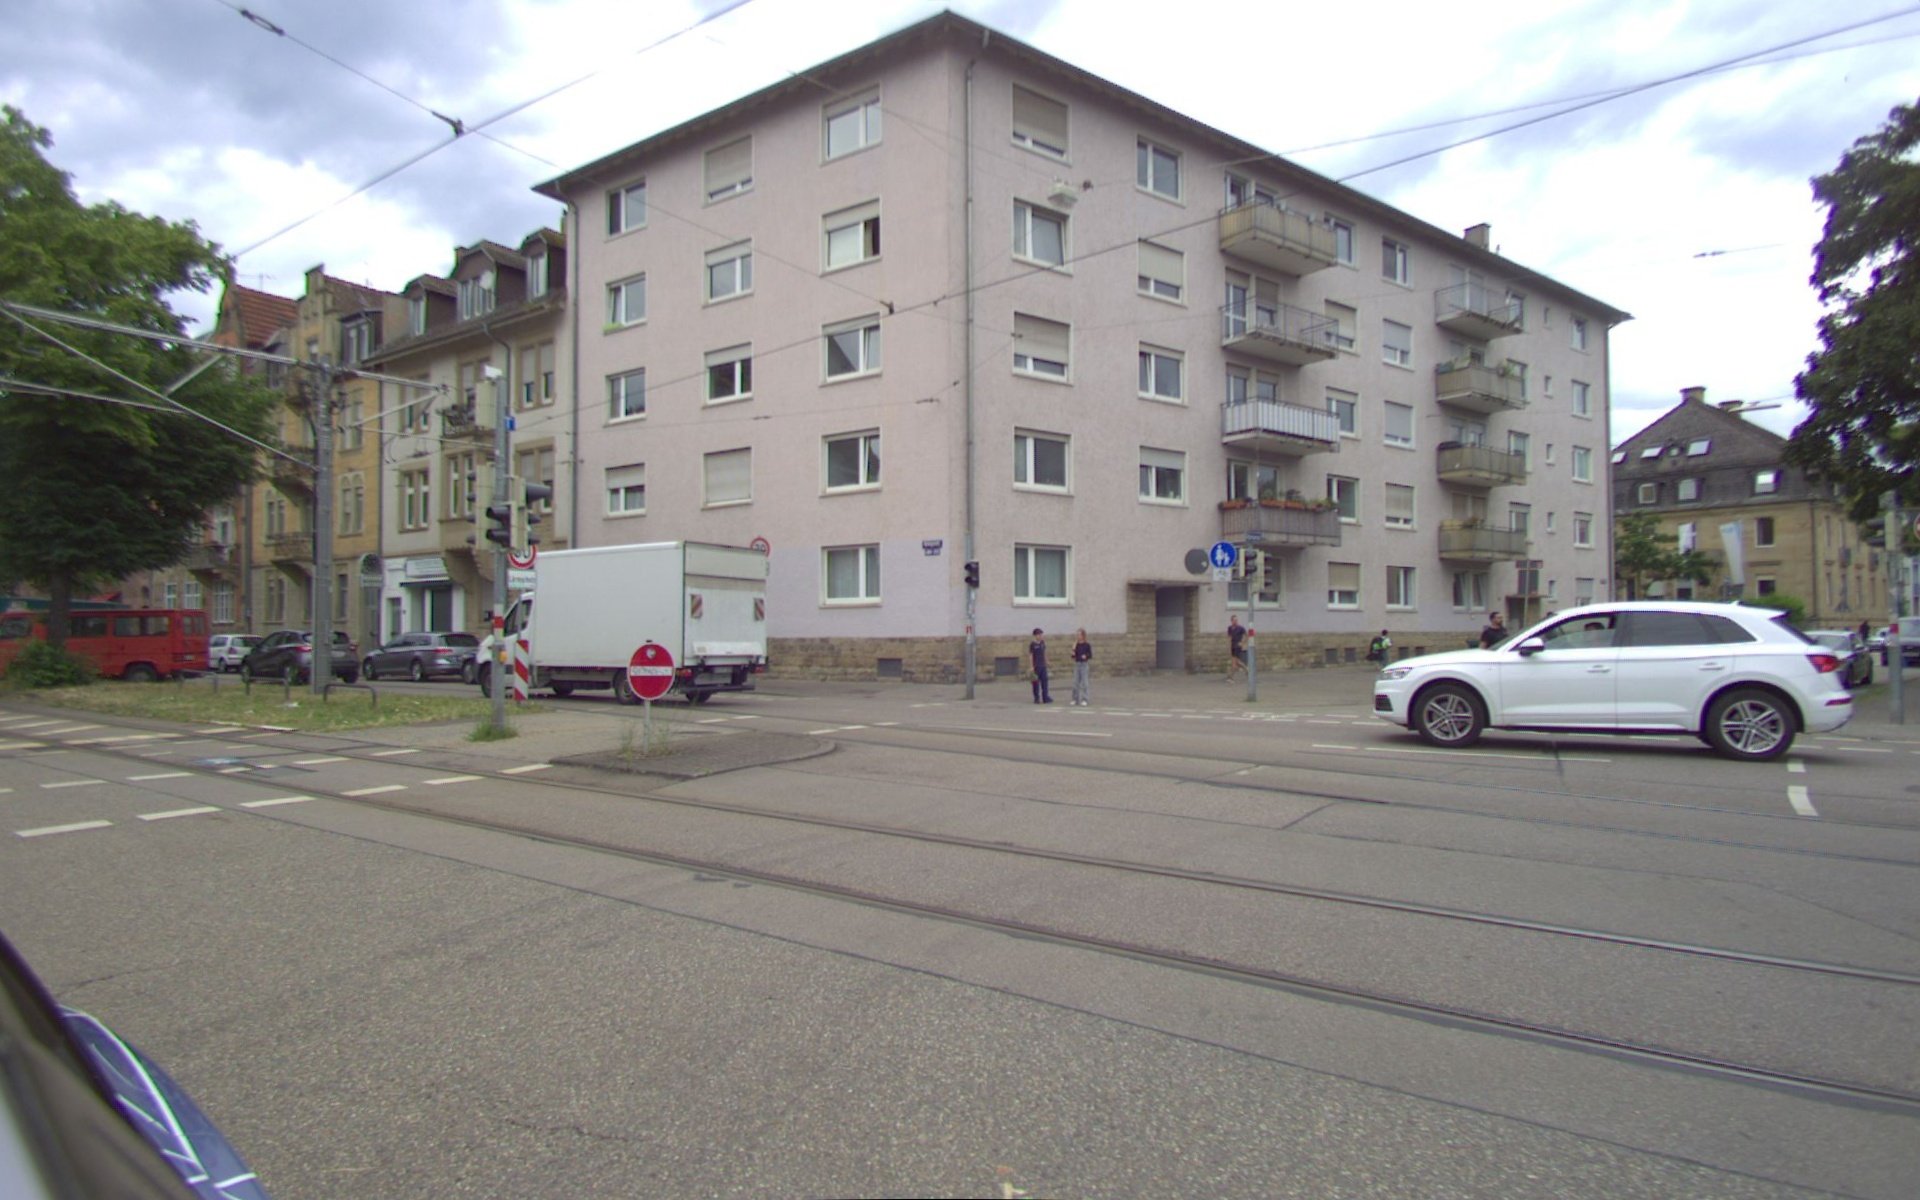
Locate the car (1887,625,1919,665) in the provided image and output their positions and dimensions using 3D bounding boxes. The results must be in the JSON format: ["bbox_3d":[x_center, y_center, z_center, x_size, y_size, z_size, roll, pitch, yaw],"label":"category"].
[{"bbox_3d":[34.608,1.555,35.697,3.970,1.364,2.005,1,-2,-36],"label":"car"}]

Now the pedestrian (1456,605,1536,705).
[{"bbox_3d":[10.471,1.067,19.797,0.821,1.889,1.049,1,-2,-20],"label":"pedestrian"}]

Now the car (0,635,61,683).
[{"bbox_3d":[-30.657,1.835,31.368,3.798,1.474,1.694,0,-2,-14],"label":"car"}]

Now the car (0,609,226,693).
[{"bbox_3d":[-21.541,1.241,25.361,4.686,1.989,1.965,0,-2,-17],"label":"car"}]

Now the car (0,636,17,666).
[{"bbox_3d":[-55.350,2.871,57.393,4.541,1.639,1.726,-1,-2,34],"label":"car"}]

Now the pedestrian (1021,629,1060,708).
[{"bbox_3d":[1.627,1.367,20.506,0.562,1.569,0.534,2,-3,-42],"label":"pedestrian"}]

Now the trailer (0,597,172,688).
[{"bbox_3d":[-24.082,1.138,27.718,3.608,2.362,1.937,1,-2,-28],"label":"trailer"}]

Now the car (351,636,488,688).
[{"bbox_3d":[-16.234,1.811,30.324,4.556,1.454,1.622,-2,-2,33],"label":"car"}]

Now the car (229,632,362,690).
[{"bbox_3d":[-18.857,1.671,28.675,4.119,1.546,1.631,-1,-2,33],"label":"car"}]

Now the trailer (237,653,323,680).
[{"bbox_3d":[-24.360,2.360,36.261,3.067,0.899,1.443,-2,-4,33],"label":"trailer"}]

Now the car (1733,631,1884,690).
[{"bbox_3d":[21.585,1.492,25.703,3.970,1.364,2.005,1,-2,-36],"label":"car"}]

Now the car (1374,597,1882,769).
[{"bbox_3d":[7.302,0.848,11.616,4.520,1.651,1.757,-1,-2,31],"label":"car"}]

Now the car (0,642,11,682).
[{"bbox_3d":[-36.326,2.210,35.324,4.267,1.446,1.904,0,-2,-14],"label":"car"}]

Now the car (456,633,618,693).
[{"bbox_3d":[-11.362,1.642,27.078,4.748,1.454,1.622,-2,-2,33],"label":"car"}]

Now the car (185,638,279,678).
[{"bbox_3d":[-28.047,2.194,38.945,3.911,1.454,1.622,-2,-2,33],"label":"car"}]

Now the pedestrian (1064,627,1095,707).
[{"bbox_3d":[2.384,1.329,20.179,0.565,1.569,0.531,-1,-2,12],"label":"pedestrian"}]

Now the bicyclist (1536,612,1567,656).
[{"bbox_3d":[21.532,1.222,36.862,0.847,1.576,0.660,1,-2,-35],"label":"bicyclist"}]

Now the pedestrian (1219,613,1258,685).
[{"bbox_3d":[7.199,1.253,26.155,0.711,1.827,0.684,1,-3,-40],"label":"pedestrian"}]

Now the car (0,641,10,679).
[{"bbox_3d":[-38.586,2.255,37.445,4.608,1.446,1.904,0,-2,-16],"label":"car"}]

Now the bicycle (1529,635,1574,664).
[{"bbox_3d":[21.516,1.802,36.825,1.933,1.010,0.658,1,-2,-36],"label":"bicycle"}]

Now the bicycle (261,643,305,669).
[{"bbox_3d":[-28.559,2.350,42.697,2.252,1.081,0.705,-2,-2,33],"label":"bicycle"}]

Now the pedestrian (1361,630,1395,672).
[{"bbox_3d":[13.019,1.581,31.512,0.719,1.298,0.691,1,-3,-40],"label":"pedestrian"}]

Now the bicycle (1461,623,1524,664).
[{"bbox_3d":[19.935,1.611,37.855,2.848,1.477,0.885,1,-2,-35],"label":"bicycle"}]

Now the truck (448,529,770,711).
[{"bbox_3d":[-7.324,0.433,20.647,7.308,3.181,2.167,-1,-2,33],"label":"truck"}]
